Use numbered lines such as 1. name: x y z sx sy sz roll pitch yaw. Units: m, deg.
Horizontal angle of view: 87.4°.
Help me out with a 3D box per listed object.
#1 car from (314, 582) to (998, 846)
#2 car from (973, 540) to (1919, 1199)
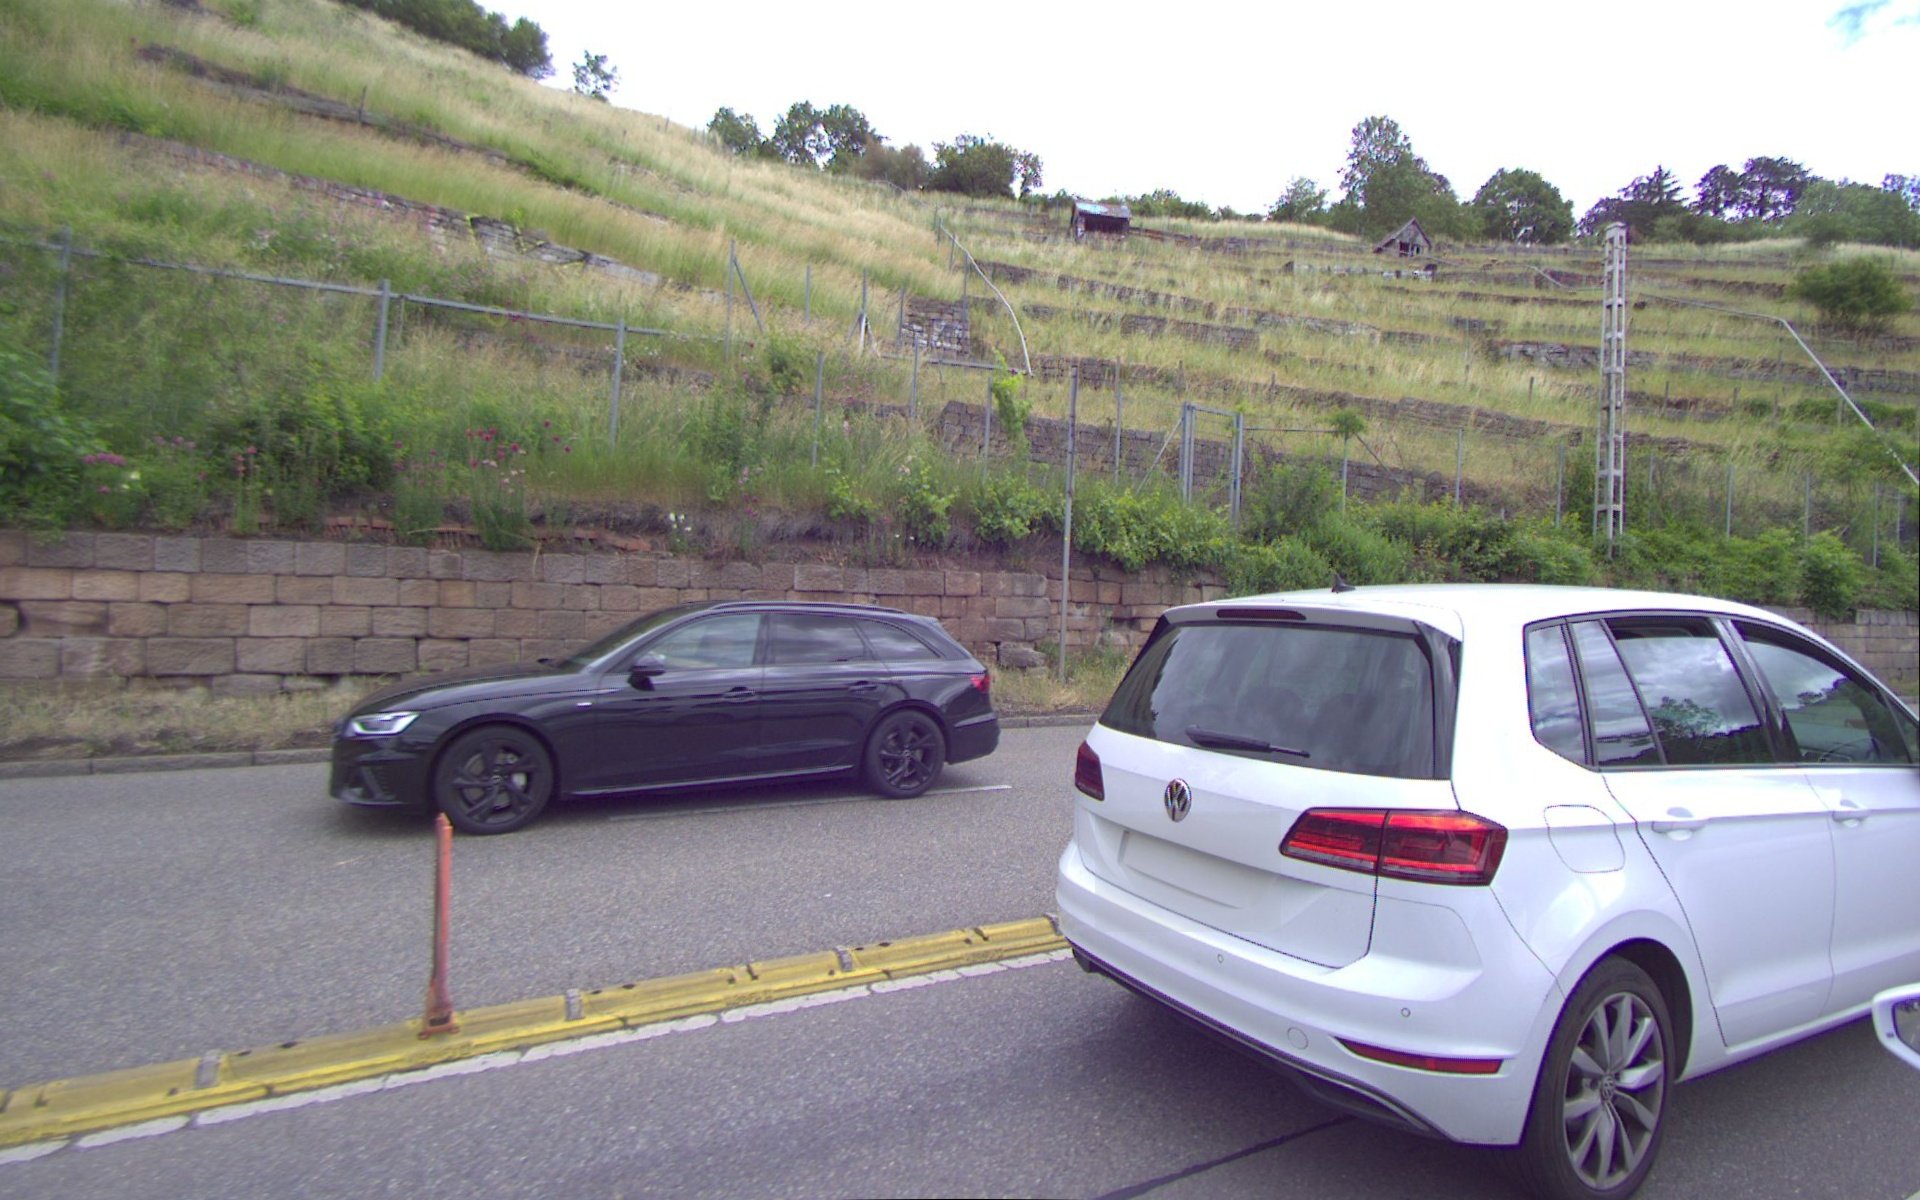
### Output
1. car: -2.065 0.673 7.391 4.362 1.432 1.842 2 1 -30
2. car: 2.362 0.726 3.820 4.304 1.601 1.812 1 0 -30
